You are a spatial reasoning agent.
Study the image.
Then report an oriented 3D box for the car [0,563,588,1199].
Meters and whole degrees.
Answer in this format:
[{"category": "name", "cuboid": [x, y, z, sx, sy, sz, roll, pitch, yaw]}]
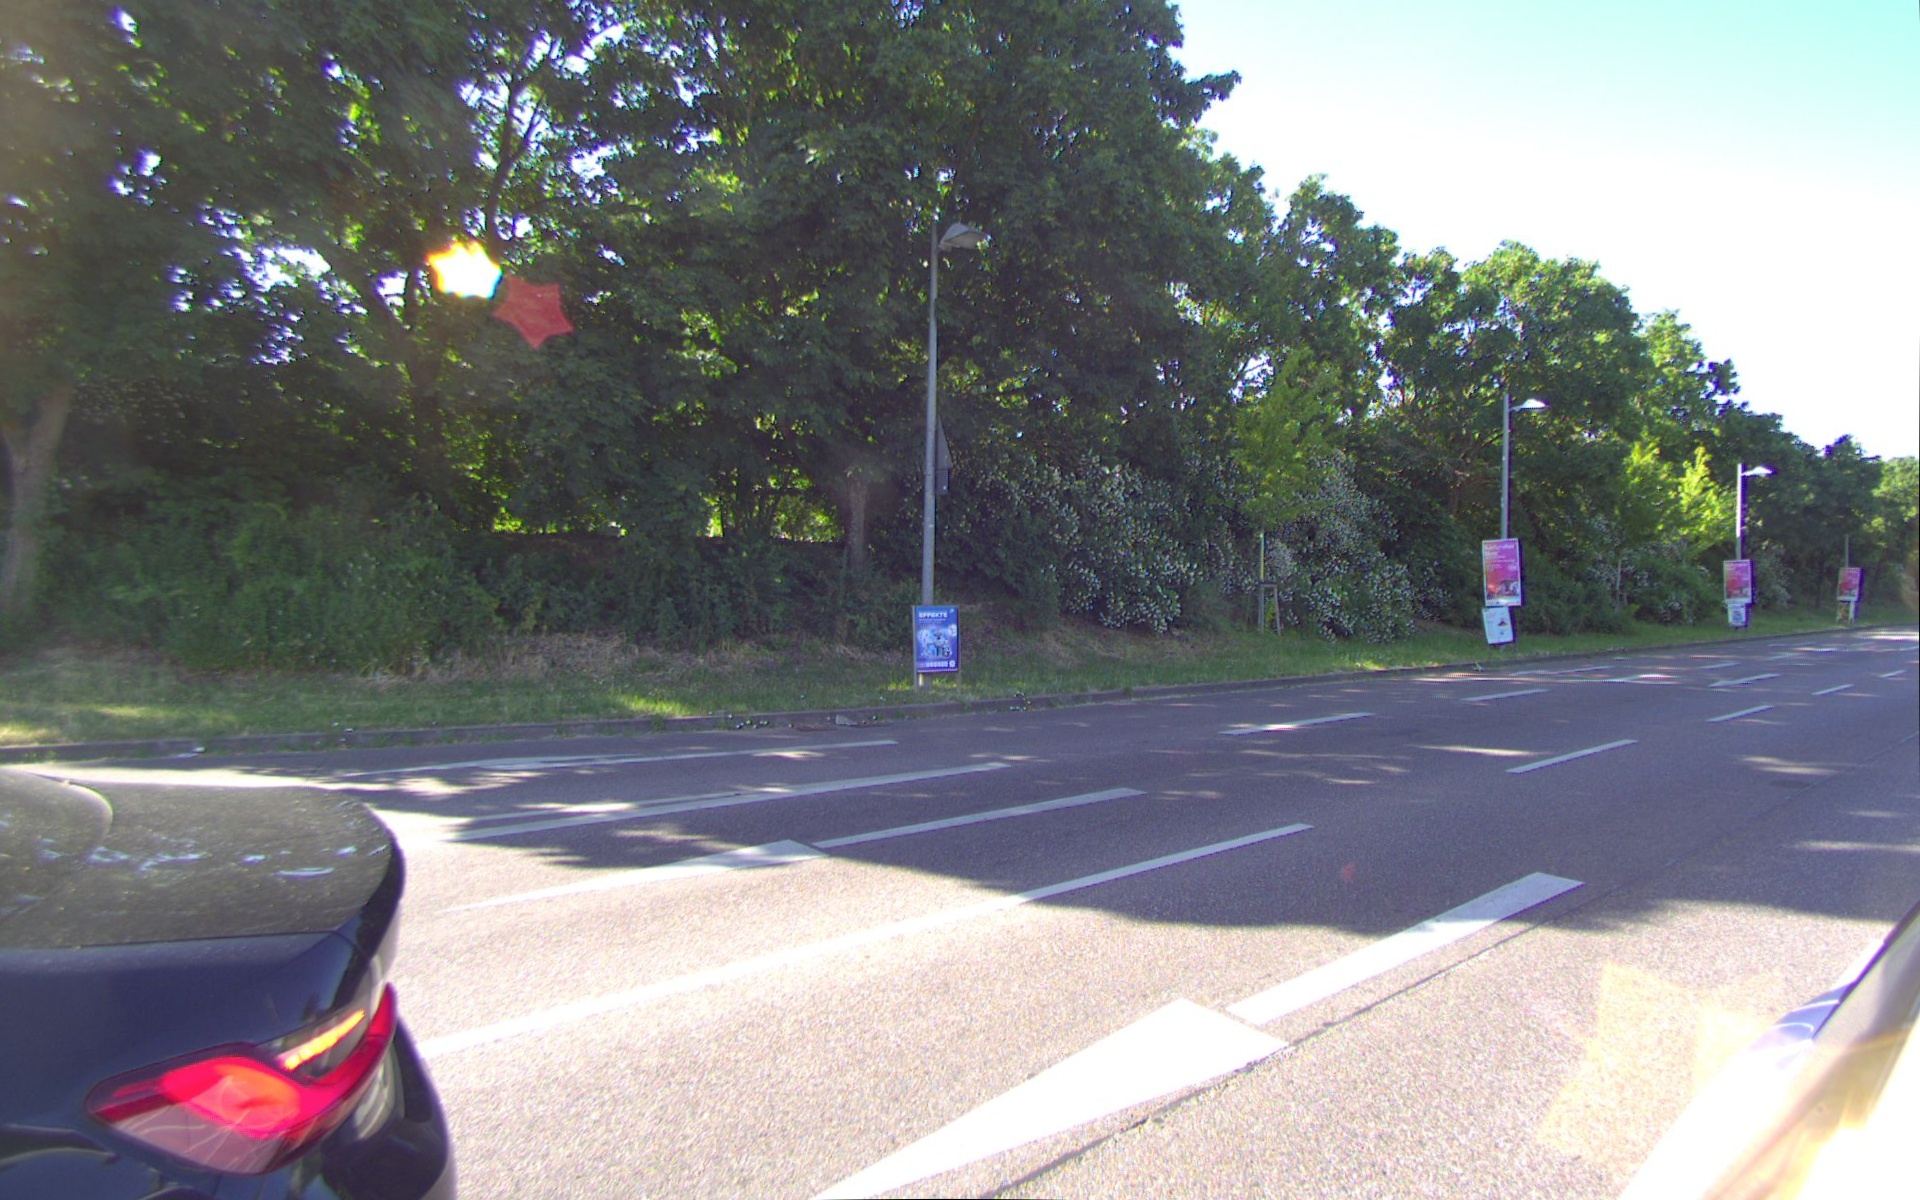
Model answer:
[{"category": "car", "cuboid": [-2.724, 0.655, 0.563, 4.364, 1.415, 1.874, 0, 1, -40]}]
